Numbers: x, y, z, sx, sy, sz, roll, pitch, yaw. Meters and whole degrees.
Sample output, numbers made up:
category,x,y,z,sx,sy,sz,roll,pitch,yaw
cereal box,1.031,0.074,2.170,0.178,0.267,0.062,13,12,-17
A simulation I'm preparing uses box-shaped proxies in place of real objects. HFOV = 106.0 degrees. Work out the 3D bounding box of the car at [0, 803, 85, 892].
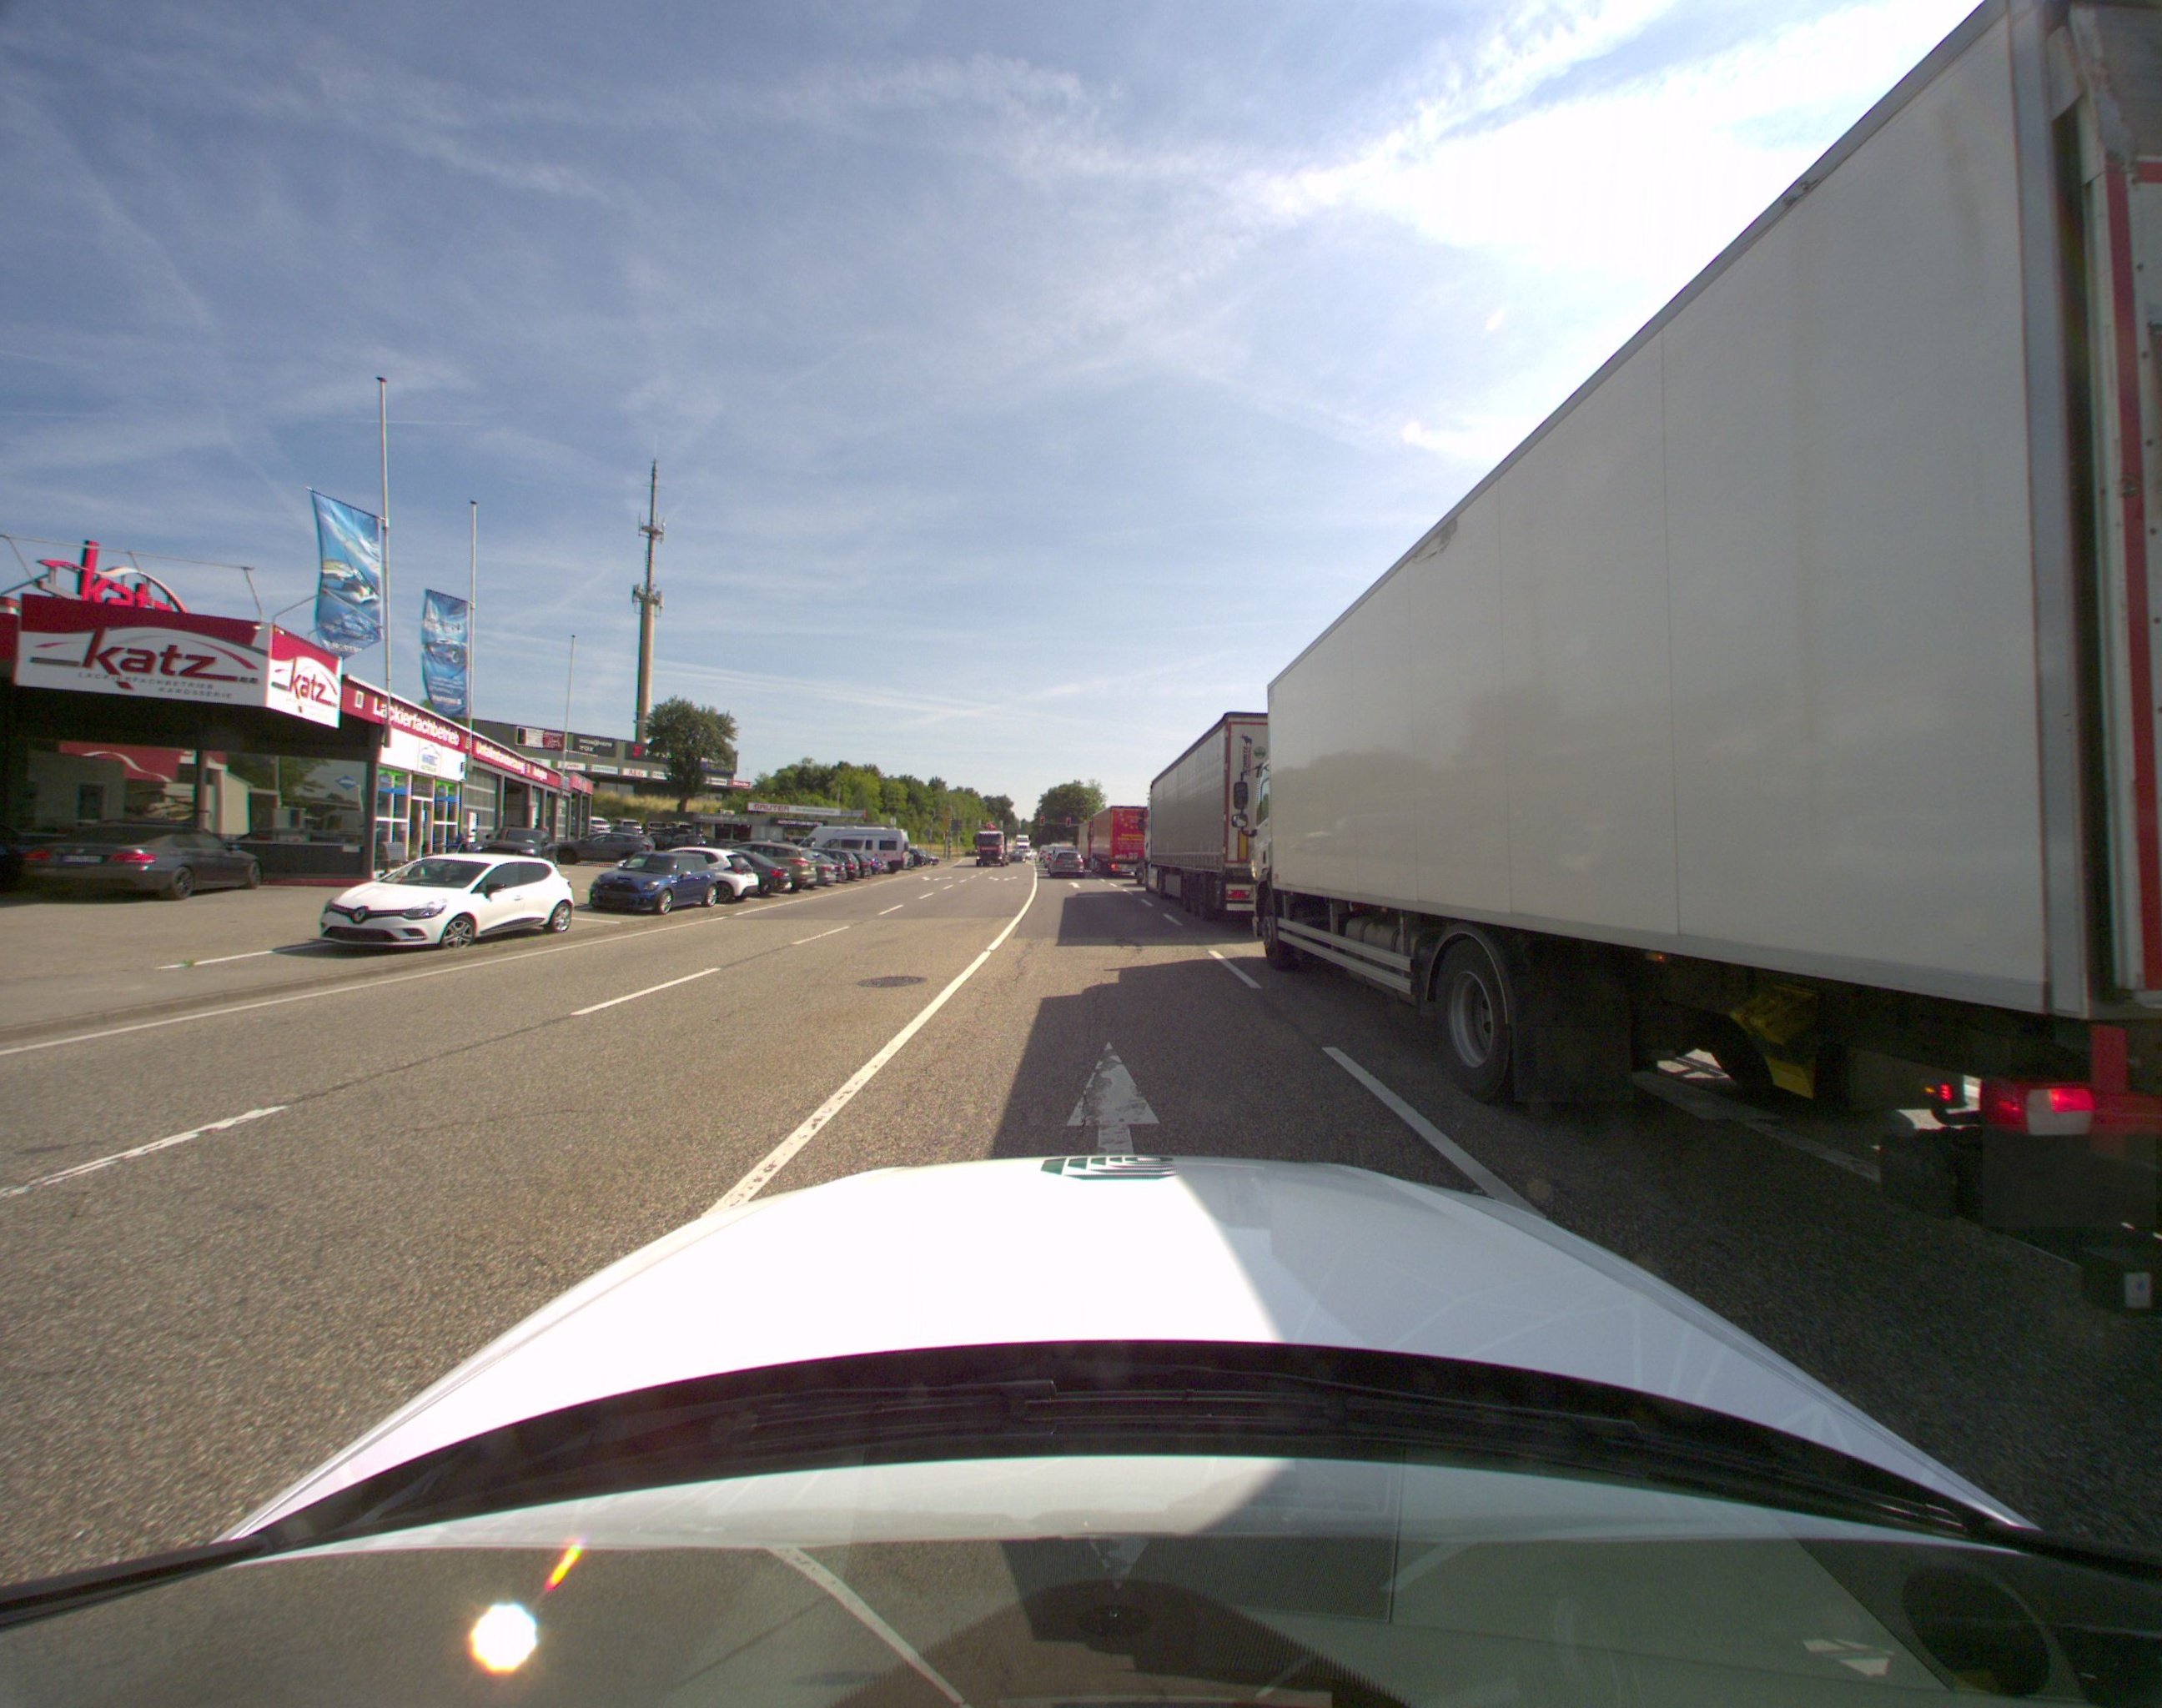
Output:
category,x,y,z,sx,sy,sz,roll,pitch,yaw
car,-20.392,-0.141,14.438,1.863,1.504,3.967,5,1,-26

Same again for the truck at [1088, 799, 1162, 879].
category,x,y,z,sx,sy,sz,roll,pitch,yaw
truck,2.454,-0.863,52.493,2.950,4.269,16.565,1,0,-3

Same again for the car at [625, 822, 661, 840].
category,x,y,z,sx,sy,sz,roll,pitch,yaw
car,-38.032,-1.949,70.712,1.746,1.450,3.703,2,-1,-44

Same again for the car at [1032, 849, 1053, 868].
category,x,y,z,sx,sy,sz,roll,pitch,yaw
car,-3.218,0.355,67.966,1.723,1.519,3.308,1,-1,-3

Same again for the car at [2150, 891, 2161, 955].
category,x,y,z,sx,sy,sz,roll,pitch,yaw
car,24.670,1.517,16.400,1.553,1.409,3.595,-1,0,0

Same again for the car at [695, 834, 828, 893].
category,x,y,z,sx,sy,sz,roll,pitch,yaw
car,-11.201,0.333,28.782,3.879,1.716,1.803,5,0,-5

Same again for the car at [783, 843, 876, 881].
category,x,y,z,sx,sy,sz,roll,pitch,yaw
car,-11.950,0.371,38.902,3.838,1.484,1.799,5,0,-5

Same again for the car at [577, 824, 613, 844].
category,x,y,z,sx,sy,sz,roll,pitch,yaw
car,-40.907,-1.671,68.524,1.746,1.537,3.703,2,-1,-44

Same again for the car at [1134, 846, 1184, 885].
category,x,y,z,sx,sy,sz,roll,pitch,yaw
car,3.507,0.488,37.151,1.813,1.685,3.998,0,0,-1

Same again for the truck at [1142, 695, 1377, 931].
category,x,y,z,sx,sy,sz,roll,pitch,yaw
truck,3.894,-0.763,23.221,2.881,4.266,16.704,1,0,0

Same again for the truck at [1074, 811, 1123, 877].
category,x,y,z,sx,sy,sz,roll,pitch,yaw
truck,1.348,-0.832,73.170,3.056,5.220,16.988,1,0,-3

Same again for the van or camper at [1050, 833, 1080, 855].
category,x,y,z,sx,sy,sz,roll,pitch,yaw
van or camper,-2.591,-1.586,132.990,2.188,3.055,5.936,6,1,27

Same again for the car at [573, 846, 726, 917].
category,x,y,z,sx,sy,sz,roll,pitch,yaw
car,-10.736,0.630,20.602,1.774,1.494,3.780,5,0,-1

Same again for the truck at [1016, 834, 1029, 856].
category,x,y,z,sx,sy,sz,roll,pitch,yaw
truck,-11.744,-1.812,164.786,2.547,4.307,7.587,0,0,-3

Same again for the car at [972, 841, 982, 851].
category,x,y,z,sx,sy,sz,roll,pitch,yaw
car,-21.850,-1.710,170.250,1.992,2.014,3.989,2,-1,-8

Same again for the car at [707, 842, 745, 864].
category,x,y,z,sx,sy,sz,roll,pitch,yaw
car,-26.587,-0.070,60.926,1.777,1.588,3.787,0,0,-36

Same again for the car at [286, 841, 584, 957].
category,x,y,z,sx,sy,sz,roll,pitch,yaw
car,-10.440,0.646,13.625,1.774,1.618,3.998,1,0,-1

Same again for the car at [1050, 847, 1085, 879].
category,x,y,z,sx,sy,sz,roll,pitch,yaw
car,-0.695,0.461,44.117,1.784,1.638,3.503,0,0,0

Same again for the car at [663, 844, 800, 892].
category,x,y,z,sx,sy,sz,roll,pitch,yaw
car,-11.275,0.439,26.471,3.701,1.525,1.789,0,0,-5

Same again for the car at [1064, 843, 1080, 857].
category,x,y,z,sx,sy,sz,roll,pitch,yaw
car,-1.121,-0.464,97.527,1.723,1.519,3.308,2,-1,-4

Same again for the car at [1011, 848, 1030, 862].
category,x,y,z,sx,sy,sz,roll,pitch,yaw
car,-6.772,0.097,91.920,1.800,1.560,4.386,0,0,0

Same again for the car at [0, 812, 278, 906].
category,x,y,z,sx,sy,sz,roll,pitch,yaw
car,-18.155,0.008,16.043,1.862,1.504,4.361,4,1,-25

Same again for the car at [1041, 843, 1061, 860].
category,x,y,z,sx,sy,sz,roll,pitch,yaw
car,-2.798,-0.220,76.718,1.722,1.519,3.310,1,-1,-1

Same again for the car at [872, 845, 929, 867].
category,x,y,z,sx,sy,sz,roll,pitch,yaw
car,-13.172,0.136,59.592,3.809,1.539,1.840,1,0,-4

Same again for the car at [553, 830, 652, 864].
category,x,y,z,sx,sy,sz,roll,pitch,yaw
car,-22.943,-0.314,39.249,3.958,1.532,1.754,0,0,-26

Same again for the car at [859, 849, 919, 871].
category,x,y,z,sx,sy,sz,roll,pitch,yaw
car,-13.298,0.404,56.532,3.809,1.448,1.840,1,0,-4

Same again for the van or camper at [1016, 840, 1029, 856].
category,x,y,z,sx,sy,sz,roll,pitch,yaw
van or camper,-10.784,-0.997,151.252,2.219,2.841,5.704,1,-1,-3

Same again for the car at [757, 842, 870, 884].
category,x,y,z,sx,sy,sz,roll,pitch,yaw
car,-11.982,0.382,36.709,4.451,1.484,1.769,5,0,-5

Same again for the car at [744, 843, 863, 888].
category,x,y,z,sx,sy,sz,roll,pitch,yaw
car,-11.522,0.465,34.056,4.291,1.484,1.795,5,0,-5

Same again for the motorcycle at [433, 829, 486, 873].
category,x,y,z,sx,sy,sz,roll,pitch,yaw
motorcycle,-18.794,-0.092,24.658,0.773,1.261,2.039,0,0,-23

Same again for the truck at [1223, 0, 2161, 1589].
category,x,y,z,sx,sy,sz,roll,pitch,yaw
truck,3.636,-0.413,7.236,2.869,3.811,11.141,1,0,0

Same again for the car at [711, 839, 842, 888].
category,x,y,z,sx,sy,sz,roll,pitch,yaw
car,-11.604,0.349,31.281,4.270,1.484,1.833,5,0,-5

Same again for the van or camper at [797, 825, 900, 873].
category,x,y,z,sx,sy,sz,roll,pitch,yaw
van or camper,-14.704,-0.351,51.836,5.879,2.873,2.287,1,1,-3

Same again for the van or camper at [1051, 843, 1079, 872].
category,x,y,z,sx,sy,sz,roll,pitch,yaw
van or camper,-1.165,0.232,58.525,1.849,1.905,3.780,1,0,-4

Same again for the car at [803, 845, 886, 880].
category,x,y,z,sx,sy,sz,roll,pitch,yaw
car,-11.997,0.418,41.531,3.701,1.555,1.705,3,1,-5

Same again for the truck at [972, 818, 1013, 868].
category,x,y,z,sx,sy,sz,roll,pitch,yaw
truck,-8.099,-0.997,75.748,2.948,4.209,10.639,-1,0,-2

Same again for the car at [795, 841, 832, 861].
category,x,y,z,sx,sy,sz,roll,pitch,yaw
car,-21.647,-0.256,65.879,1.777,1.588,3.787,0,0,-36

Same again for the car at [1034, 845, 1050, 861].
category,x,y,z,sx,sy,sz,roll,pitch,yaw
car,-4.744,-0.076,99.061,1.721,1.909,3.312,1,-1,0

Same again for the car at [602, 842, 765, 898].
category,x,y,z,sx,sy,sz,roll,pitch,yaw
car,-11.478,0.444,23.736,3.789,1.525,1.843,1,0,-5

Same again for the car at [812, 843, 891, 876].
category,x,y,z,sx,sy,sz,roll,pitch,yaw
car,-12.351,0.286,43.972,3.701,1.484,1.705,5,0,-5

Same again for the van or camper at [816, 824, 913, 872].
category,x,y,z,sx,sy,sz,roll,pitch,yaw
van or camper,-13.066,-0.355,49.487,5.232,2.731,2.209,1,0,-2

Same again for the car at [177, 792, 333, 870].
category,x,y,z,sx,sy,sz,roll,pitch,yaw
car,-21.657,-0.579,21.556,1.708,1.759,3.728,5,-1,-28

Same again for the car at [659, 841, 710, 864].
category,x,y,z,sx,sy,sz,roll,pitch,yaw
car,-29.220,-0.124,59.994,3.780,1.588,1.780,1,0,37

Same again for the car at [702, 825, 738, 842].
category,x,y,z,sx,sy,sz,roll,pitch,yaw
car,-32.519,-1.823,73.270,1.746,1.450,3.703,2,-1,-44

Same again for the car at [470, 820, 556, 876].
category,x,y,z,sx,sy,sz,roll,pitch,yaw
car,-20.087,-0.179,28.975,1.831,1.675,4.090,7,-4,-28
